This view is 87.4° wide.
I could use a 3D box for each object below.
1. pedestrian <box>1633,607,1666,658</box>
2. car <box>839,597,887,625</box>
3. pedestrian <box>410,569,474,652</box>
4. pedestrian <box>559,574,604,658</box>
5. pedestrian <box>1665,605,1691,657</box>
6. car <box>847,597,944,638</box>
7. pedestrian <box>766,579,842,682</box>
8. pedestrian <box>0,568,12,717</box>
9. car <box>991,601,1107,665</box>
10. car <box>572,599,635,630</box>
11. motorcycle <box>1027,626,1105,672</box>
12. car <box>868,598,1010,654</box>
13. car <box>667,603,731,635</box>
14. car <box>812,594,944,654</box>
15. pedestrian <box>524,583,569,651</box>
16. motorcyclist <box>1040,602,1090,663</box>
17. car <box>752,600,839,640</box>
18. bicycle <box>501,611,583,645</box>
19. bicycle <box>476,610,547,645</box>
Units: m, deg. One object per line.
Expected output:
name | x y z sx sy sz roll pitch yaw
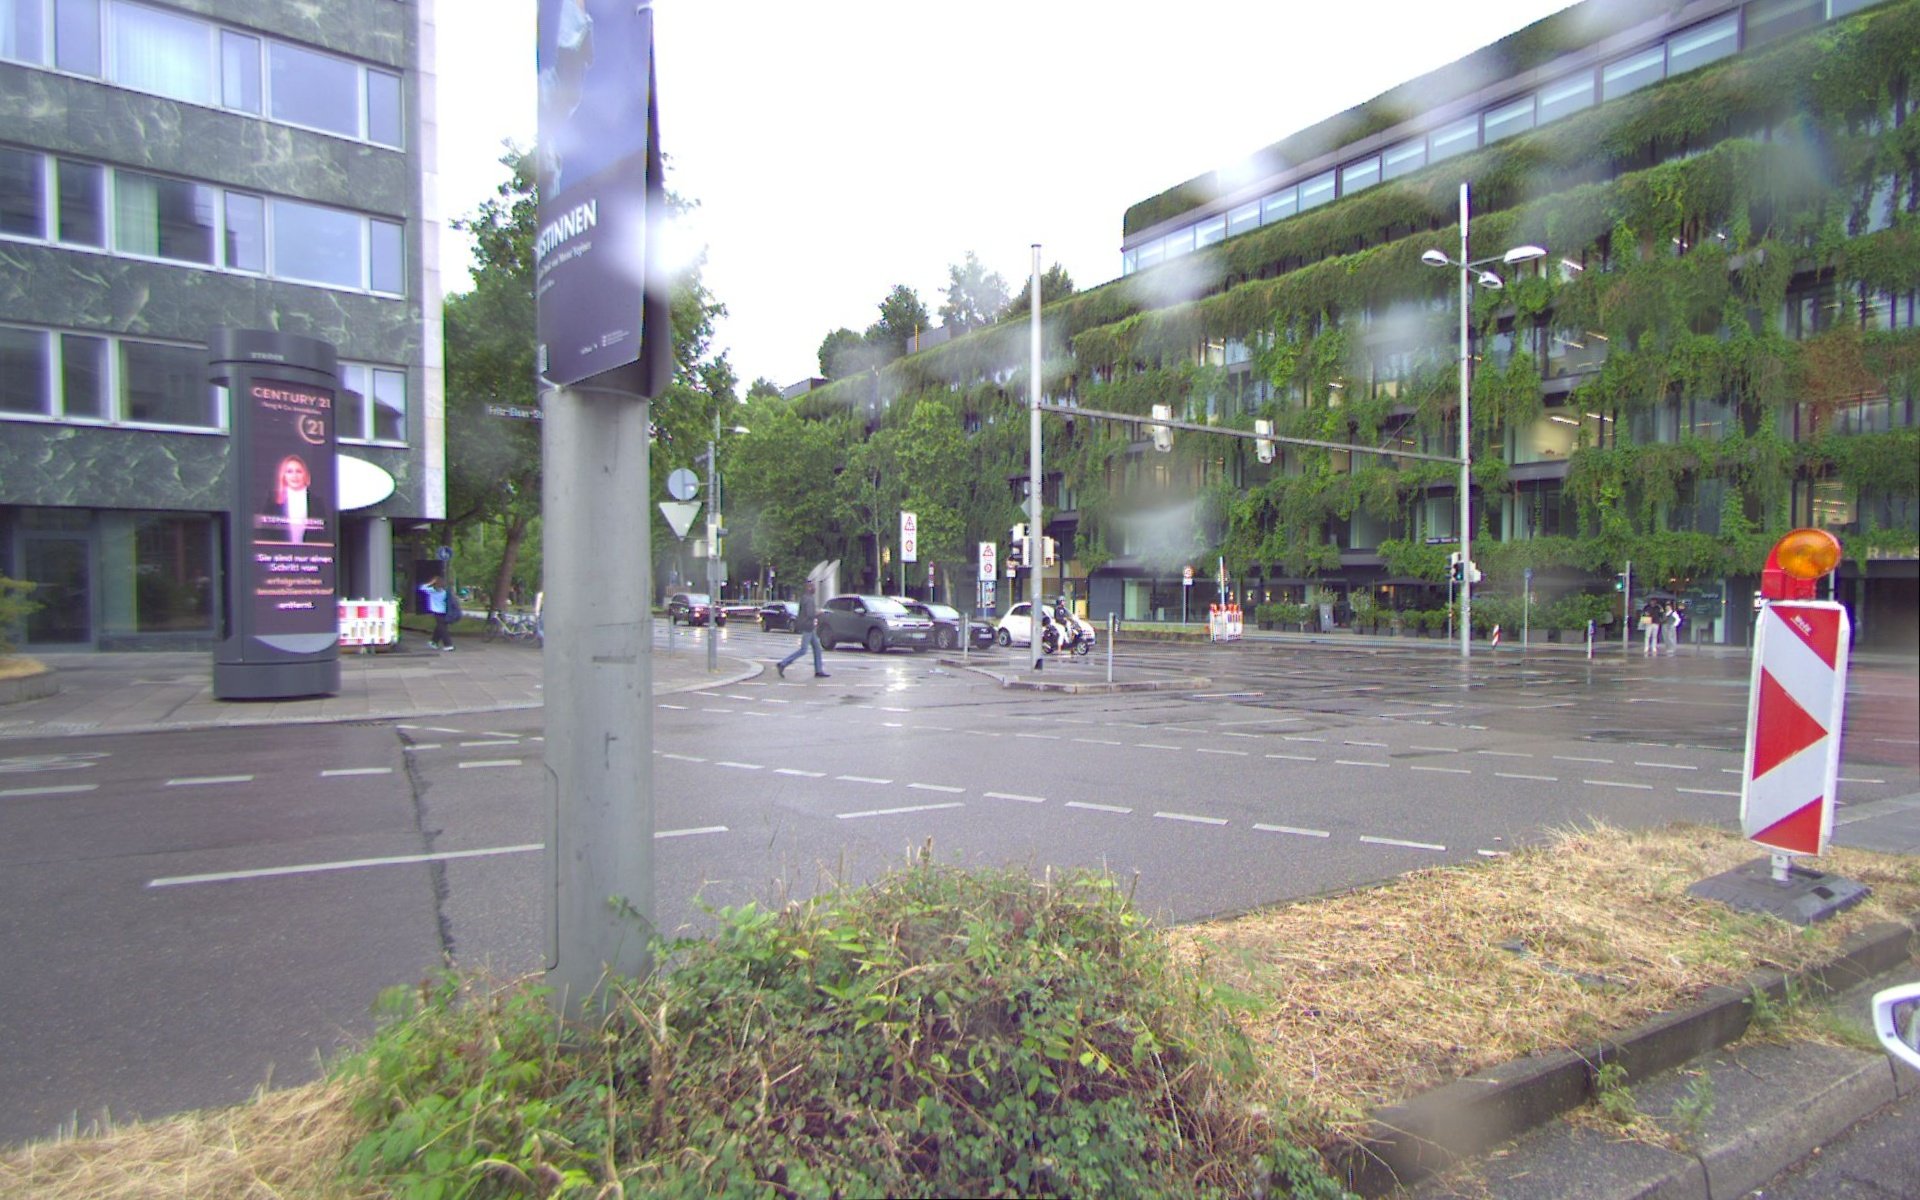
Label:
pedestrian | 24.846 1.161 36.213 0.923 1.781 1.167 1 0 37
car | -7.509 0.822 77.304 1.979 2.040 4.073 1 -1 -34
pedestrian | -12.094 0.267 23.461 1.005 1.878 0.877 -3 -3 23
pedestrian | -8.899 0.387 23.591 0.887 1.909 0.781 1 -4 -30
pedestrian | 25.511 1.094 35.682 0.731 1.781 0.972 1 0 37
car | -2.586 0.667 39.686 1.858 1.543 3.855 1 0 -42
pedestrian | -2.995 0.575 19.310 1.225 1.911 0.685 1 2 -34
pedestrian | -11.079 0.469 10.999 0.679 1.675 0.757 1 0 -7
car | 2.911 1.046 33.256 1.985 1.948 3.417 1 0 -42
car | -20.402 0.812 57.437 1.986 1.674 4.050 3 -1 -42
motorcycle | 3.039 1.395 29.052 2.204 1.227 0.843 1 0 44
car | -0.755 0.801 32.662 1.957 1.674 4.755 1 0 -43
car | -14.276 1.025 54.875 1.805 1.674 4.053 3 -1 -40
car | -2.544 0.671 30.218 1.982 1.674 4.192 1 0 -38
pedestrian | -10.028 0.427 24.334 0.912 1.606 0.828 0 -4 -30
motorcyclist | 3.034 0.920 29.062 1.173 1.725 0.843 1 0 44
car | -7.532 0.893 45.735 1.986 1.674 4.050 3 -1 -42
bicycle | -12.129 0.815 29.191 2.170 0.968 0.423 2 -1 -44
bicycle | -12.384 0.759 27.776 1.773 0.946 0.473 1 0 -21
